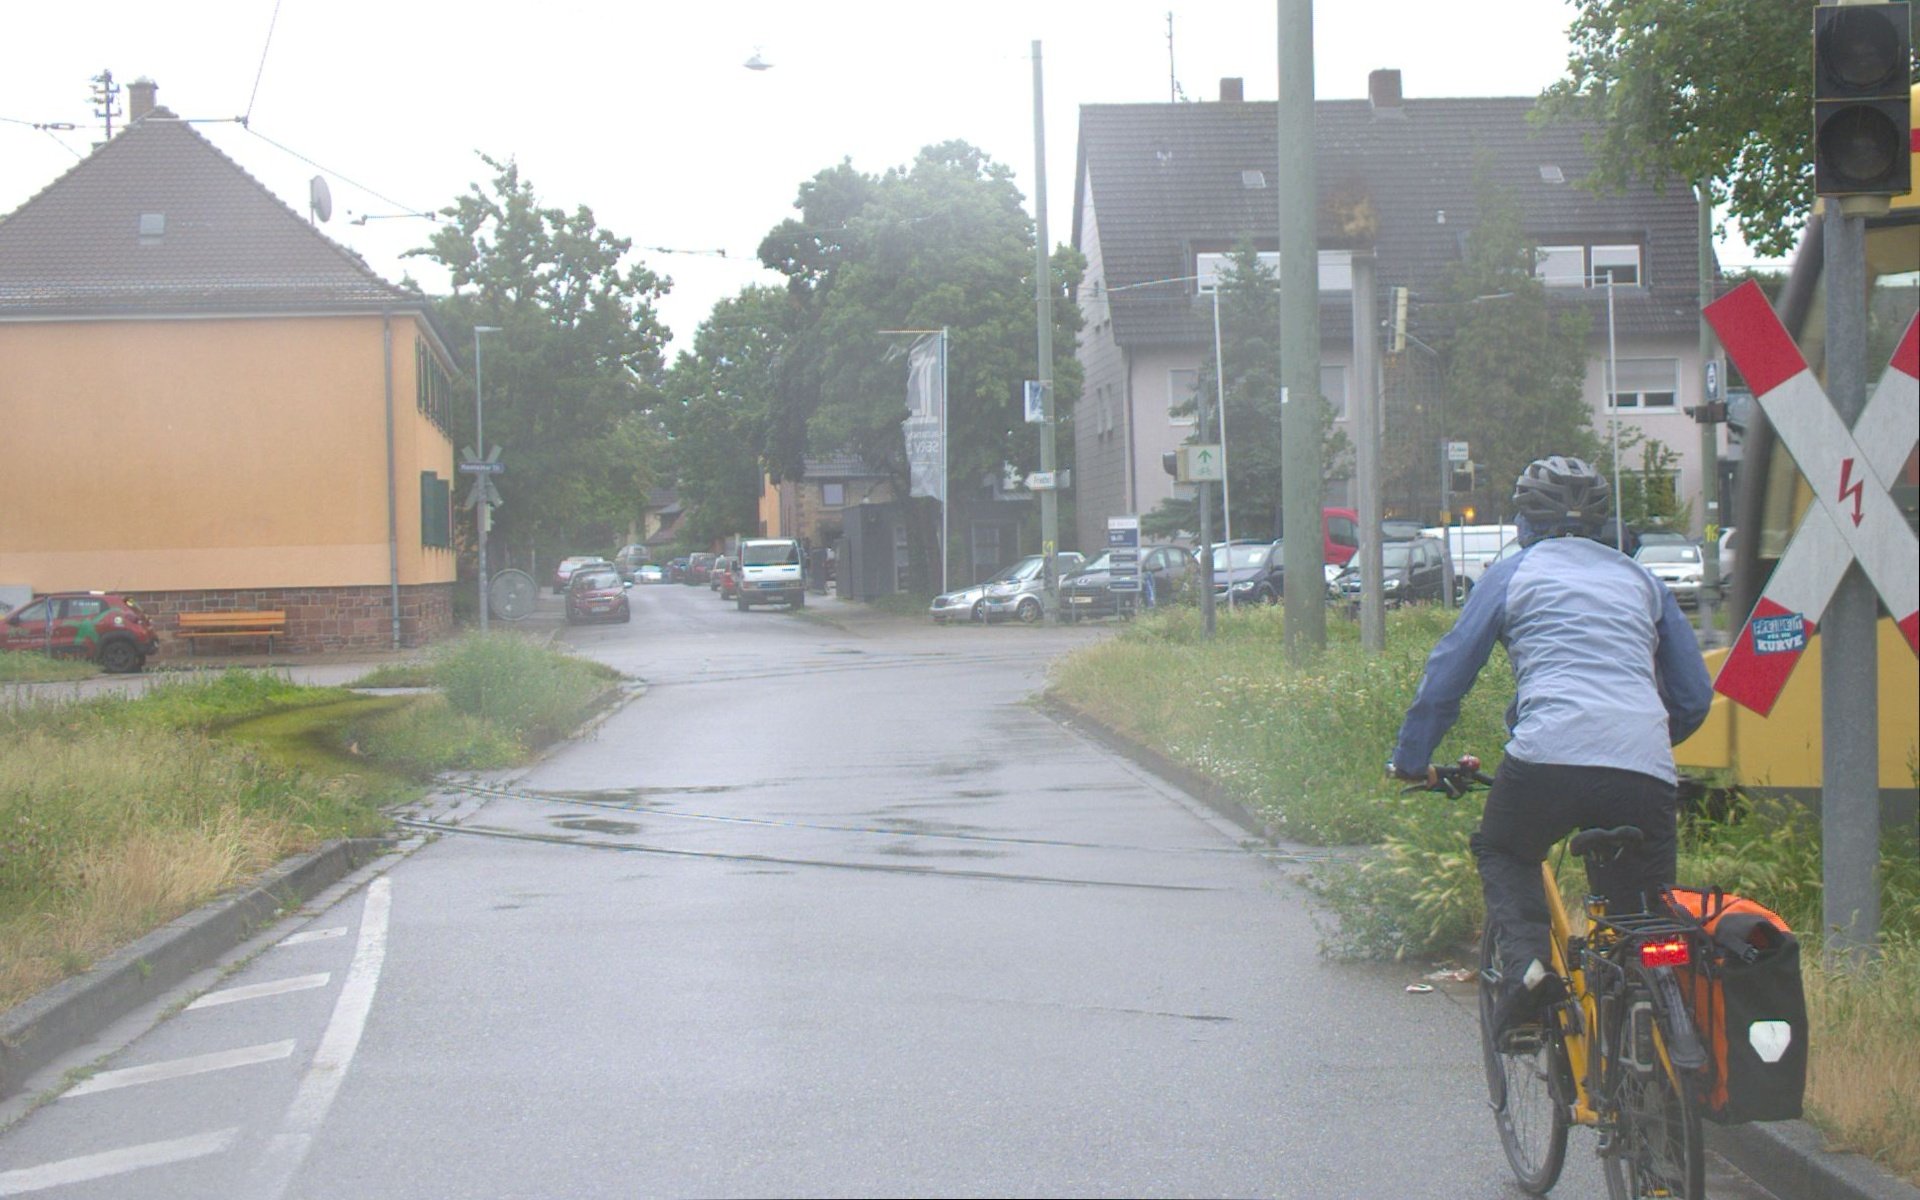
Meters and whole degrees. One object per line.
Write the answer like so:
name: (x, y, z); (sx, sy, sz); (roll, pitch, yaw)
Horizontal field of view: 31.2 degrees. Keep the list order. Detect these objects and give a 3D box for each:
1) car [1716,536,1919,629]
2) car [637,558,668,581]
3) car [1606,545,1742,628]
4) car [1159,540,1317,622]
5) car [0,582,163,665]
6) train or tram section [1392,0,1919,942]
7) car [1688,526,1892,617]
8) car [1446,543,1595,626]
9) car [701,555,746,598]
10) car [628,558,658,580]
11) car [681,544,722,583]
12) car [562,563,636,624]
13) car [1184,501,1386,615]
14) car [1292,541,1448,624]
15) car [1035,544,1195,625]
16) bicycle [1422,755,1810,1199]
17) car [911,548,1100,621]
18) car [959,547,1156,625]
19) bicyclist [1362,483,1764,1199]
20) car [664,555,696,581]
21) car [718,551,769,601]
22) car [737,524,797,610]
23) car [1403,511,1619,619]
car: (16.363, -0.333, 65.072); (3.684, 1.695, 1.890); (1, 0, 0)
car: (-20.414, -2.031, 228.272); (1.804, 1.456, 4.000); (1, 0, -3)
car: (14.759, -0.273, 70.933); (1.843, 1.634, 3.995); (1, 0, 25)
car: (5.818, -0.396, 71.491); (1.996, 1.634, 3.995); (1, 0, 25)
car: (-16.658, 0.420, 62.563); (3.986, 1.451, 1.834); (1, 0, -6)
train or tram section: (8.118, -0.780, 10.716); (13.102, 3.541, 2.767); (-1, 1, 20)
car: (18.382, -0.628, 76.239); (3.986, 1.944, 2.000); (1, 0, -2)
car: (11.530, -0.314, 70.542); (1.996, 1.634, 3.995); (1, 0, 25)
car: (-10.128, -1.013, 147.382); (1.804, 1.805, 4.000); (1, 0, -3)
car: (-21.527, -2.075, 233.701); (1.804, 1.456, 4.000); (1, 0, -3)
car: (-12.360, -1.754, 164.610); (1.804, 1.805, 4.000); (1, 0, -3)
car: (-10.020, -0.196, 95.676); (1.804, 1.645, 4.000); (1, 0, -3)
car: (7.557, -0.968, 79.767); (4.398, 2.557, 1.999); (1, 0, 14)
car: (8.412, -0.355, 70.323); (1.996, 1.634, 3.995); (1, 0, 25)
car: (3.306, -0.326, 72.737); (1.996, 1.634, 3.995); (1, 0, 25)
bicycle: (1.357, 0.892, 7.357); (0.446, 1.001, 1.728); (-1, 1, -2)
car: (1.073, -0.339, 79.900); (3.987, 1.637, 2.000); (1, -1, -36)
car: (2.184, -0.307, 76.828); (3.987, 1.670, 2.000); (1, 0, -36)
bicyclist: (1.264, 0.577, 7.344); (0.667, 1.620, 0.853); (1, 0, -2)
car: (-17.211, -1.947, 211.225); (1.804, 1.558, 4.000); (1, 0, -3)
car: (-8.041, -0.880, 127.896); (1.804, 1.805, 4.000); (1, 0, -3)
car: (-6.056, -1.025, 108.019); (1.804, 2.618, 4.000); (1, 0, -3)
car: (12.178, -0.767, 76.201); (4.395, 2.317, 2.000); (1, 0, -2)
